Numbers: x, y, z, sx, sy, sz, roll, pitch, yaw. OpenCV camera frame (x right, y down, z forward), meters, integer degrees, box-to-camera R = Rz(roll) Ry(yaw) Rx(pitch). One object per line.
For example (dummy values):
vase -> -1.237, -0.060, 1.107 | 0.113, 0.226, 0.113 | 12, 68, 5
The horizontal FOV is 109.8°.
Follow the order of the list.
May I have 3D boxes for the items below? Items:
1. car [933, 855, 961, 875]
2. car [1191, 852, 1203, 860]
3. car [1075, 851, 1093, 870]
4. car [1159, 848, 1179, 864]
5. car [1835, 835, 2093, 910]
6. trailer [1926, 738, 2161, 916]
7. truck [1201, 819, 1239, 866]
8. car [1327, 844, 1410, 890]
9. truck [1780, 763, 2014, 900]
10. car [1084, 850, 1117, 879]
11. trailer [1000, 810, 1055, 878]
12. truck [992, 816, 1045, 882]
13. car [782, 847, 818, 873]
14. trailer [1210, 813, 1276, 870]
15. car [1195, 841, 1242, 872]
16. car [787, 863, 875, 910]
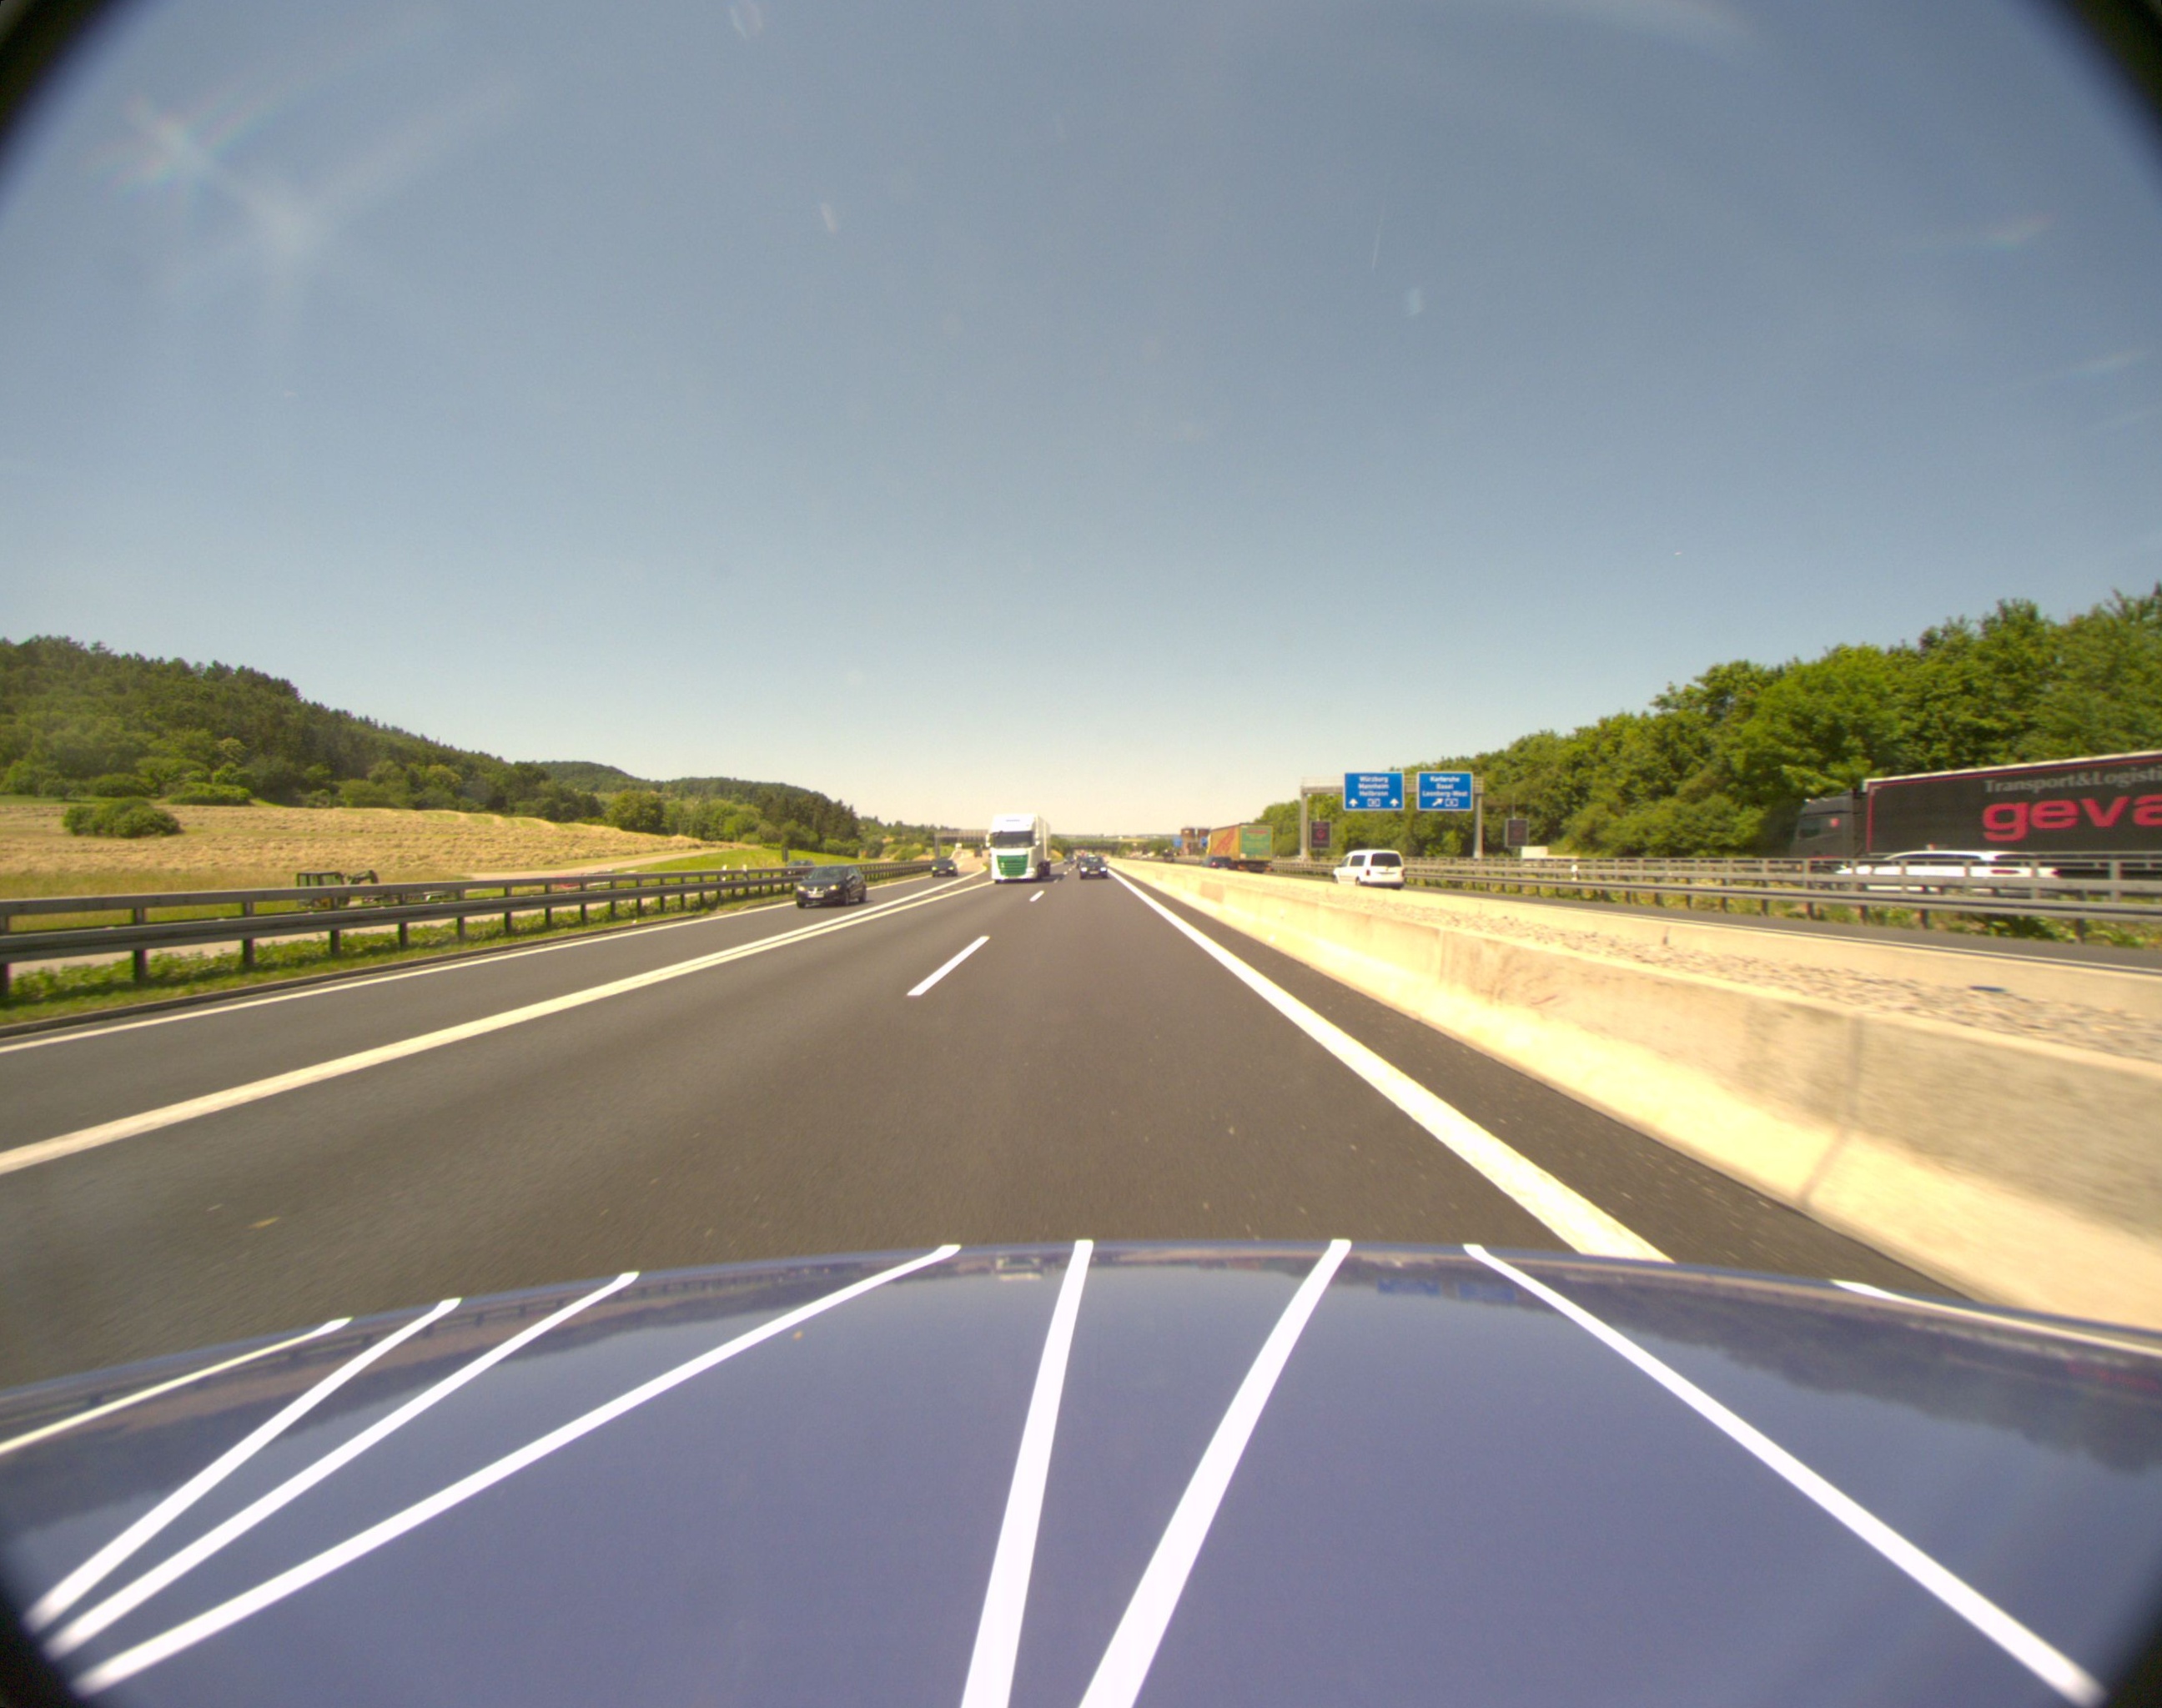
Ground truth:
car -> -10.970, 0.857, 62.458 | 1.892, 1.464, 3.865 | -2, 1, -4
car -> 30.346, 0.580, 199.146 | 1.952, 2.002, 4.761 | -2, 1, -4
car -> 0.375, 0.709, 87.674 | 1.998, 2.002, 3.999 | -2, 1, 1
car -> 11.383, 0.260, 98.554 | 1.923, 2.002, 5.346 | 0, 1, 1
car -> 24.438, 0.458, 21.365 | 1.998, 1.846, 4.538 | -1, 0, 1
trailer -> 28.172, -0.714, 18.257 | 2.801, 4.408, 11.651 | -2, 1, 0
truck -> 13.348, -1.132, 73.197 | 2.713, 4.264, 4.552 | -2, 1, 0
car -> 12.635, 0.502, 33.700 | 1.746, 1.816, 4.902 | -2, 1, 0
truck -> 28.152, -0.745, 26.563 | 2.817, 4.248, 4.998 | -2, 1, 1
car -> 1.113, 0.566, 45.042 | 1.799, 1.574, 3.999 | -2, 1, 0
trailer -> -3.597, -0.662, 54.452 | 2.663, 4.164, 14.893 | -2, 0, 0
truck -> -3.617, -0.301, 44.821 | 2.649, 3.572, 4.403 | -2, 1, 0
car -> -22.096, 0.446, 59.904 | 2.000, 2.002, 3.996 | -1, 0, -11
trailer -> 13.336, -1.023, 63.973 | 2.674, 4.248, 13.813 | -2, 1, 1
car -> 8.556, 0.115, 47.593 | 1.989, 1.816, 4.825 | -2, 1, -1
car -> -8.708, 1.087, 26.787 | 1.781, 1.392, 3.760 | -2, 1, 0
